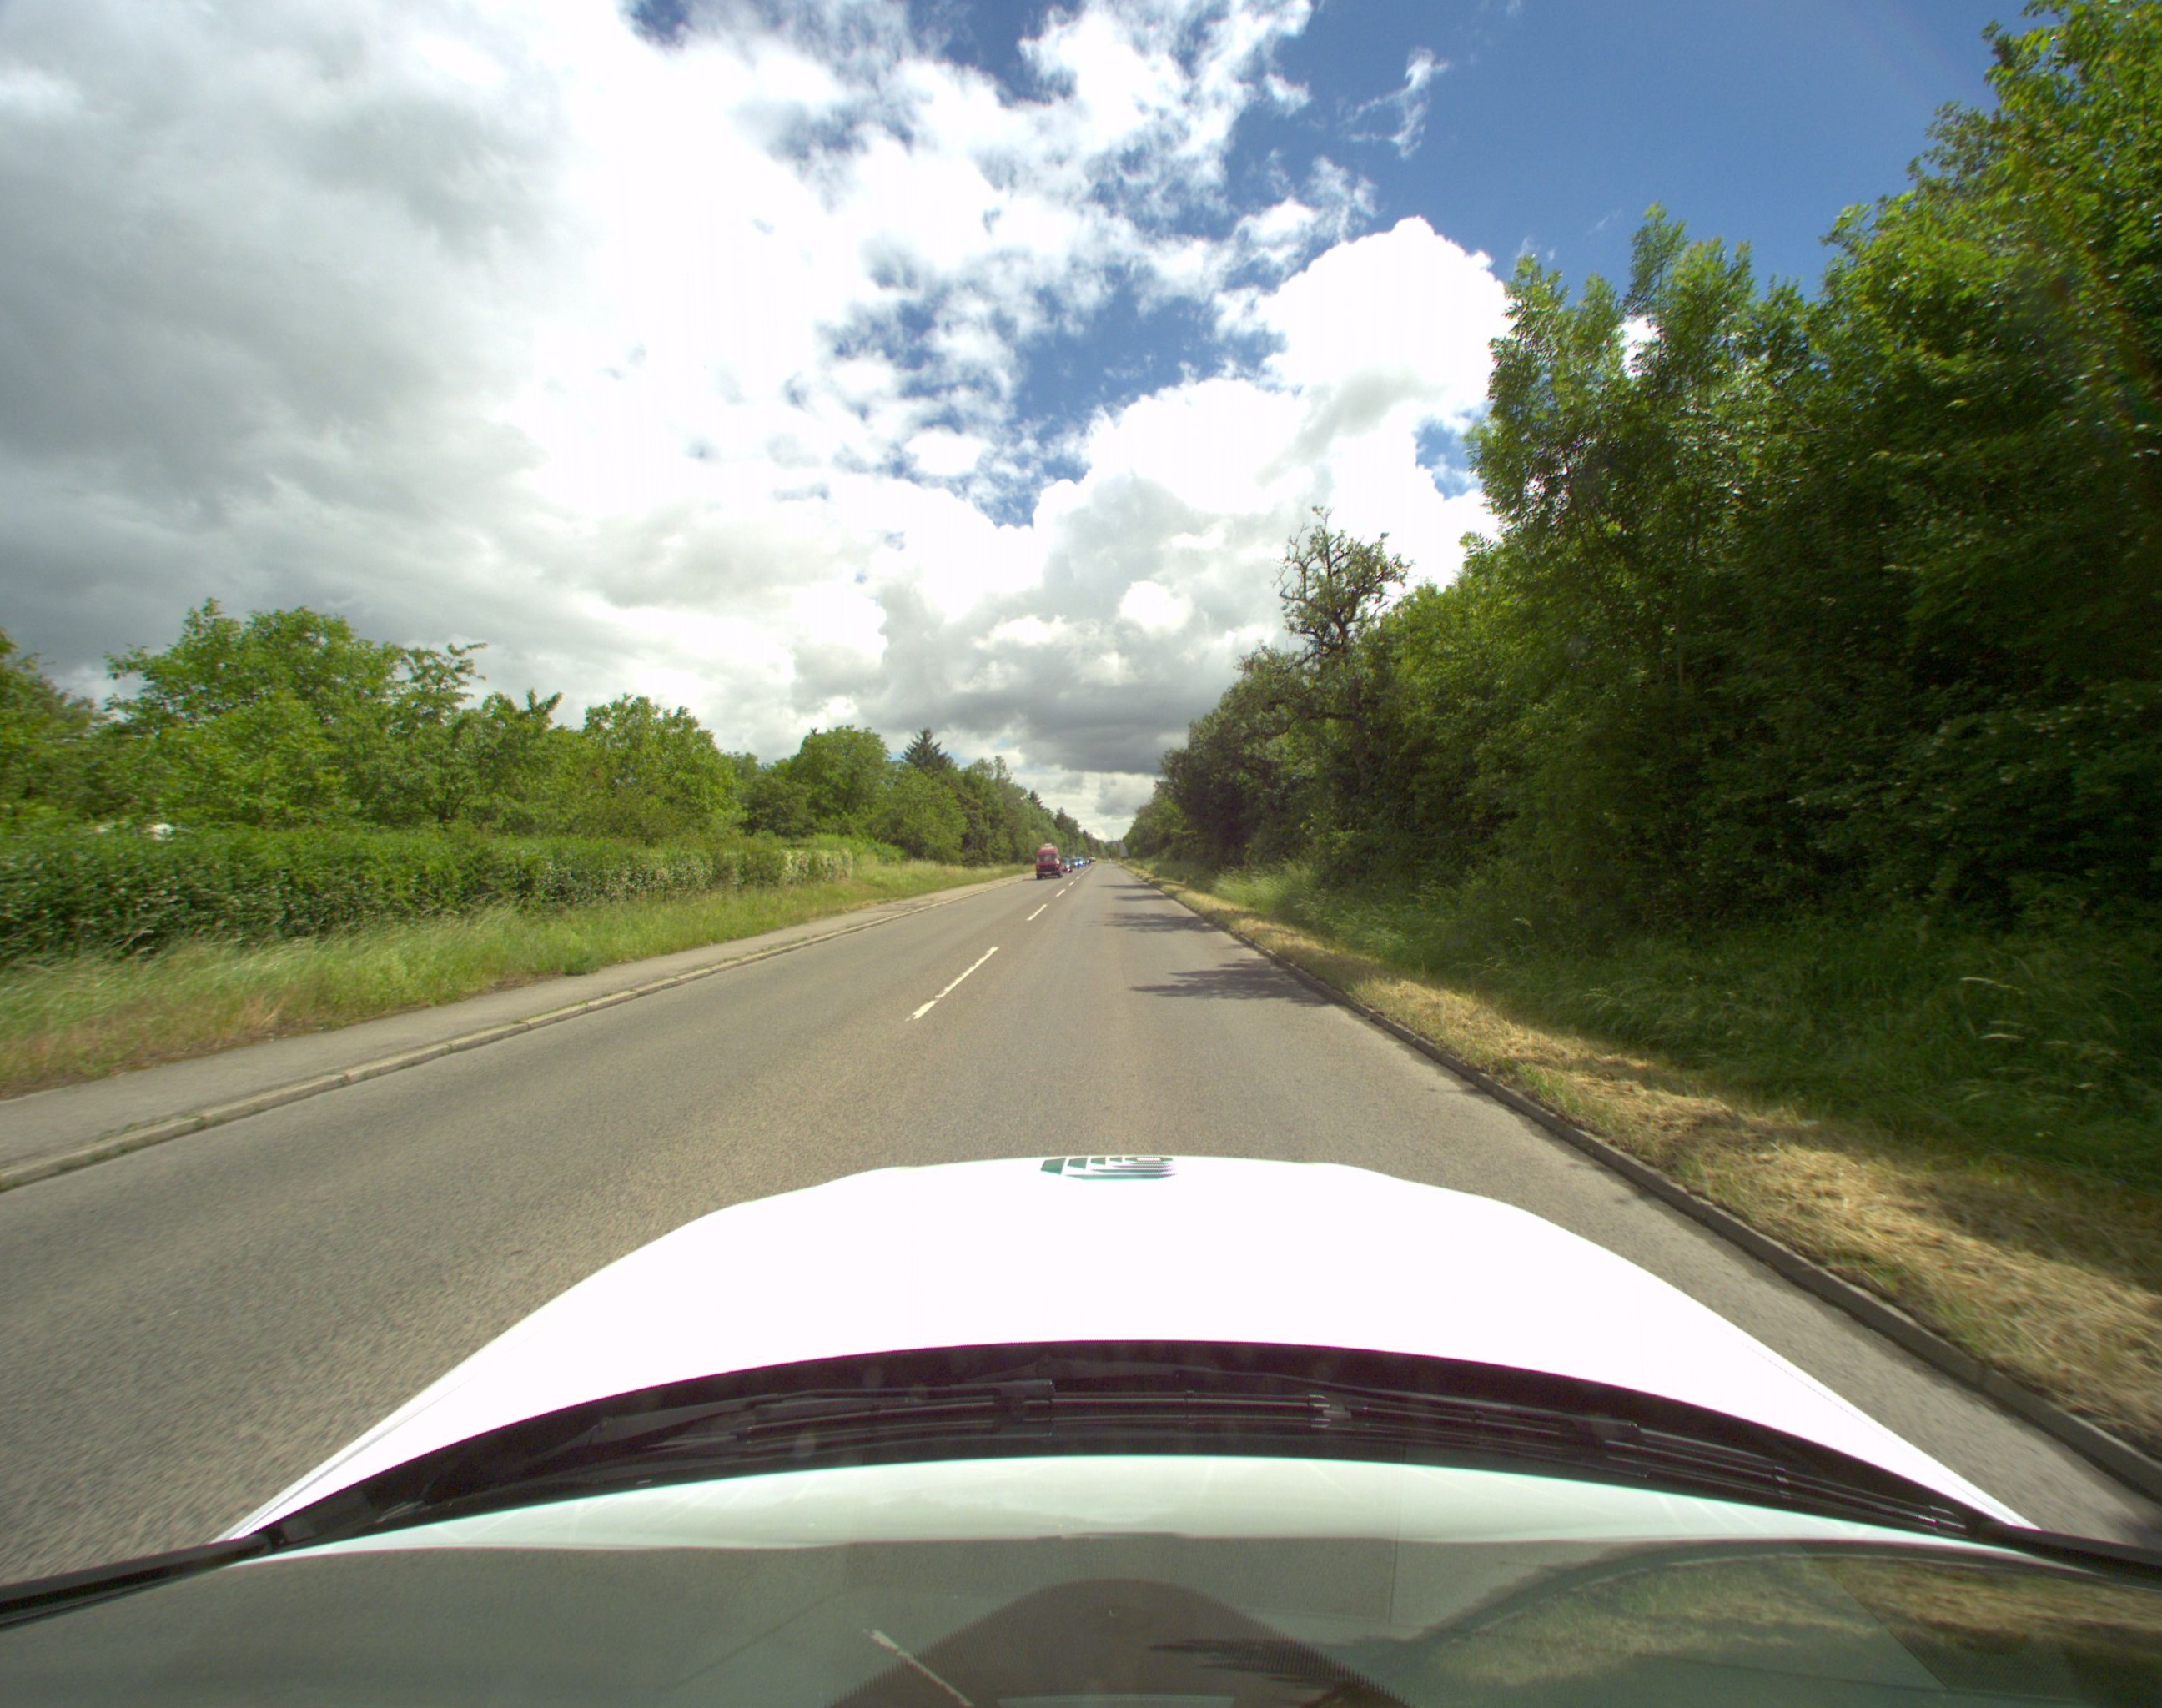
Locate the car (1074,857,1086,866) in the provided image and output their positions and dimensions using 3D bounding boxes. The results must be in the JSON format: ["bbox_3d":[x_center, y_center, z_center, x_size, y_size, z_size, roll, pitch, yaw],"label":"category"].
[{"bbox_3d":[-0.201,1.378,144.500,1.878,1.492,4.717,-4,0,0],"label":"car"}]

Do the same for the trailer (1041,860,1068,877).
[{"bbox_3d":[-2.102,1.167,65.500,1.885,1.200,3.918,-4,0,1],"label":"trailer"}]

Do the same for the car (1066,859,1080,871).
[{"bbox_3d":[-1.049,1.481,113.472,1.778,1.446,4.452,-4,0,0],"label":"car"}]

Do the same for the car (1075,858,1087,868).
[{"bbox_3d":[-0.033,1.475,129.137,1.778,1.446,2.966,-4,0,0],"label":"car"}]

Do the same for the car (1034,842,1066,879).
[{"bbox_3d":[-2.261,0.502,61.128,1.962,2.550,4.726,-4,0,1],"label":"car"}]

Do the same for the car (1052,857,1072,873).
[{"bbox_3d":[-1.872,1.105,81.458,1.710,1.471,4.000,-5,0,1],"label":"car"}]
